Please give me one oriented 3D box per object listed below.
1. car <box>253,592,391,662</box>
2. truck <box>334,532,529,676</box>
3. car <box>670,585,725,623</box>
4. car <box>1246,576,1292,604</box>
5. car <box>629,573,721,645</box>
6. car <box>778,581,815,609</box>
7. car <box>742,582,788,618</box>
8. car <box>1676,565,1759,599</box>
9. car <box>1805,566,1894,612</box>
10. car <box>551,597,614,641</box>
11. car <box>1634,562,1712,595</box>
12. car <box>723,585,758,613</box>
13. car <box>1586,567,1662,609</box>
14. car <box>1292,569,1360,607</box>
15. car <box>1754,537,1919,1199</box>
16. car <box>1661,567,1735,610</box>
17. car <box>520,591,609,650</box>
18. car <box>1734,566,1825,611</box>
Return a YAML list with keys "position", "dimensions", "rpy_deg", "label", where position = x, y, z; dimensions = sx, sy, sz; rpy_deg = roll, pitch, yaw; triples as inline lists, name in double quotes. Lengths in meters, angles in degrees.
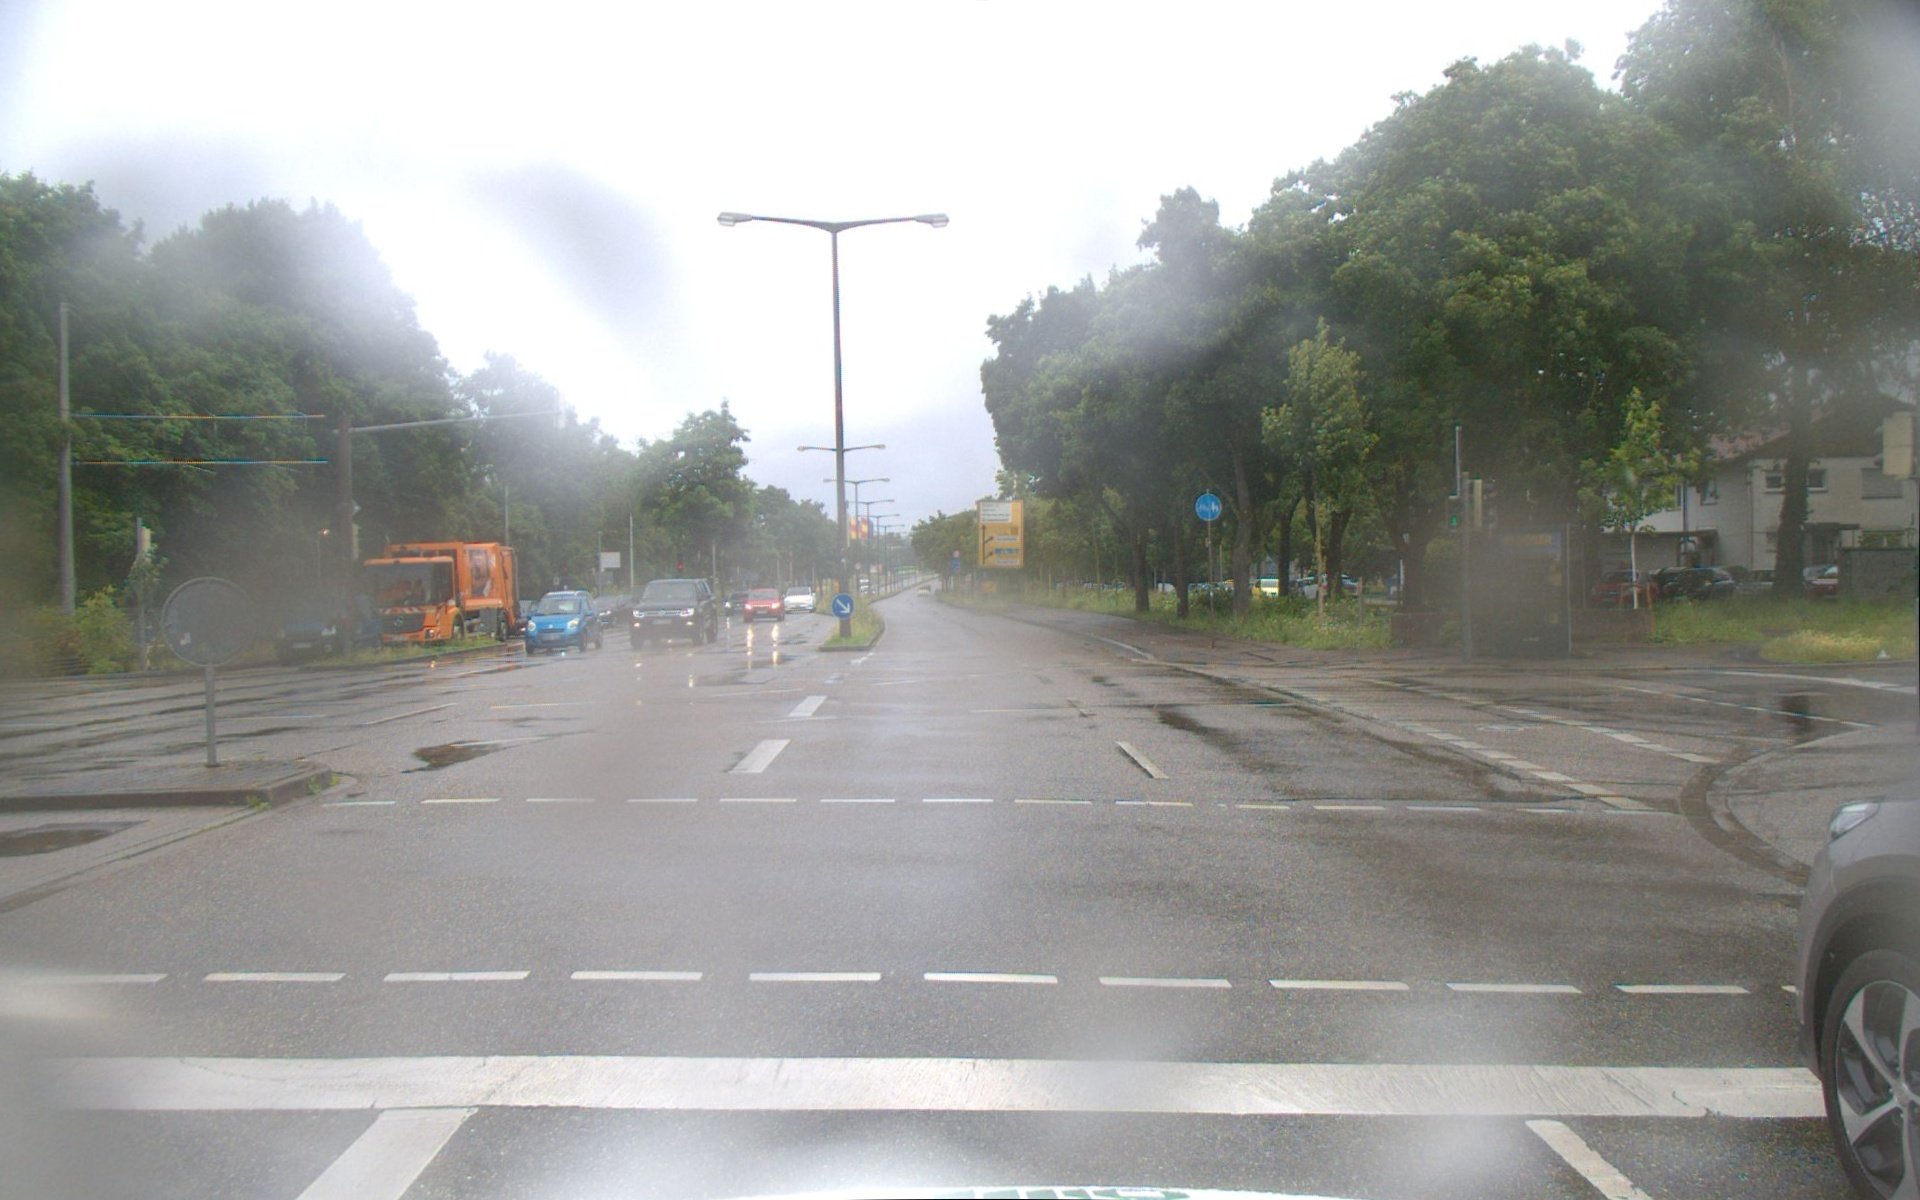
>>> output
- position: [-17.019, 0.694, 44.378]
  dimensions: [1.953, 1.739, 4.526]
  rpy_deg: [1, 0, 0]
  label: "car"
- position: [-17.145, 0.128, 54.649]
  dimensions: [3.316, 4.240, 10.403]
  rpy_deg: [1, 0, -2]
  label: "truck"
- position: [-11.973, 0.149, 75.698]
  dimensions: [1.855, 1.639, 4.499]
  rpy_deg: [-1, 1, -1]
  label: "car"
- position: [17.594, -0.541, 94.267]
  dimensions: [1.605, 1.512, 4.070]
  rpy_deg: [1, 0, -4]
  label: "car"
- position: [-7.887, 0.217, 46.167]
  dimensions: [1.769, 1.804, 5.087]
  rpy_deg: [-2, 1, -2]
  label: "car"
- position: [-10.271, -0.314, 103.968]
  dimensions: [1.921, 1.645, 4.696]
  rpy_deg: [-2, 1, -2]
  label: "car"
- position: [-9.119, 0.015, 77.628]
  dimensions: [1.765, 1.597, 4.427]
  rpy_deg: [-3, 0, -2]
  label: "car"
- position: [32.605, -0.760, 71.304]
  dimensions: [1.552, 1.409, 3.997]
  rpy_deg: [1, 0, -4]
  label: "car"
- position: [29.584, -0.349, 54.957]
  dimensions: [3.723, 1.474, 1.578]
  rpy_deg: [1, 0, -44]
  label: "car"
- position: [-16.834, 0.826, 73.971]
  dimensions: [1.954, 1.859, 4.769]
  rpy_deg: [1, 0, -3]
  label: "car"
- position: [30.561, -0.914, 71.028]
  dimensions: [1.541, 1.339, 3.699]
  rpy_deg: [0, 0, -4]
  label: "car"
- position: [-13.878, -0.086, 104.763]
  dimensions: [1.672, 1.670, 4.330]
  rpy_deg: [-3, 0, -1]
  label: "car"
- position: [23.980, -0.415, 59.706]
  dimensions: [1.637, 1.474, 3.736]
  rpy_deg: [1, 0, 37]
  label: "car"
- position: [17.831, -0.587, 80.758]
  dimensions: [1.954, 1.747, 4.875]
  rpy_deg: [-2, 0, -4]
  label: "car"
- position: [3.184, 0.660, 2.493]
  dimensions: [1.846, 1.638, 4.194]
  rpy_deg: [0, 0, -2]
  label: "car"
- position: [26.165, -0.388, 58.588]
  dimensions: [1.637, 1.474, 3.736]
  rpy_deg: [1, 0, 37]
  label: "car"
- position: [-10.751, 0.530, 45.206]
  dimensions: [1.608, 1.452, 3.997]
  rpy_deg: [-3, 0, -3]
  label: "car"
- position: [27.960, -0.368, 56.384]
  dimensions: [3.723, 1.474, 1.643]
  rpy_deg: [1, 0, -44]
  label: "car"
